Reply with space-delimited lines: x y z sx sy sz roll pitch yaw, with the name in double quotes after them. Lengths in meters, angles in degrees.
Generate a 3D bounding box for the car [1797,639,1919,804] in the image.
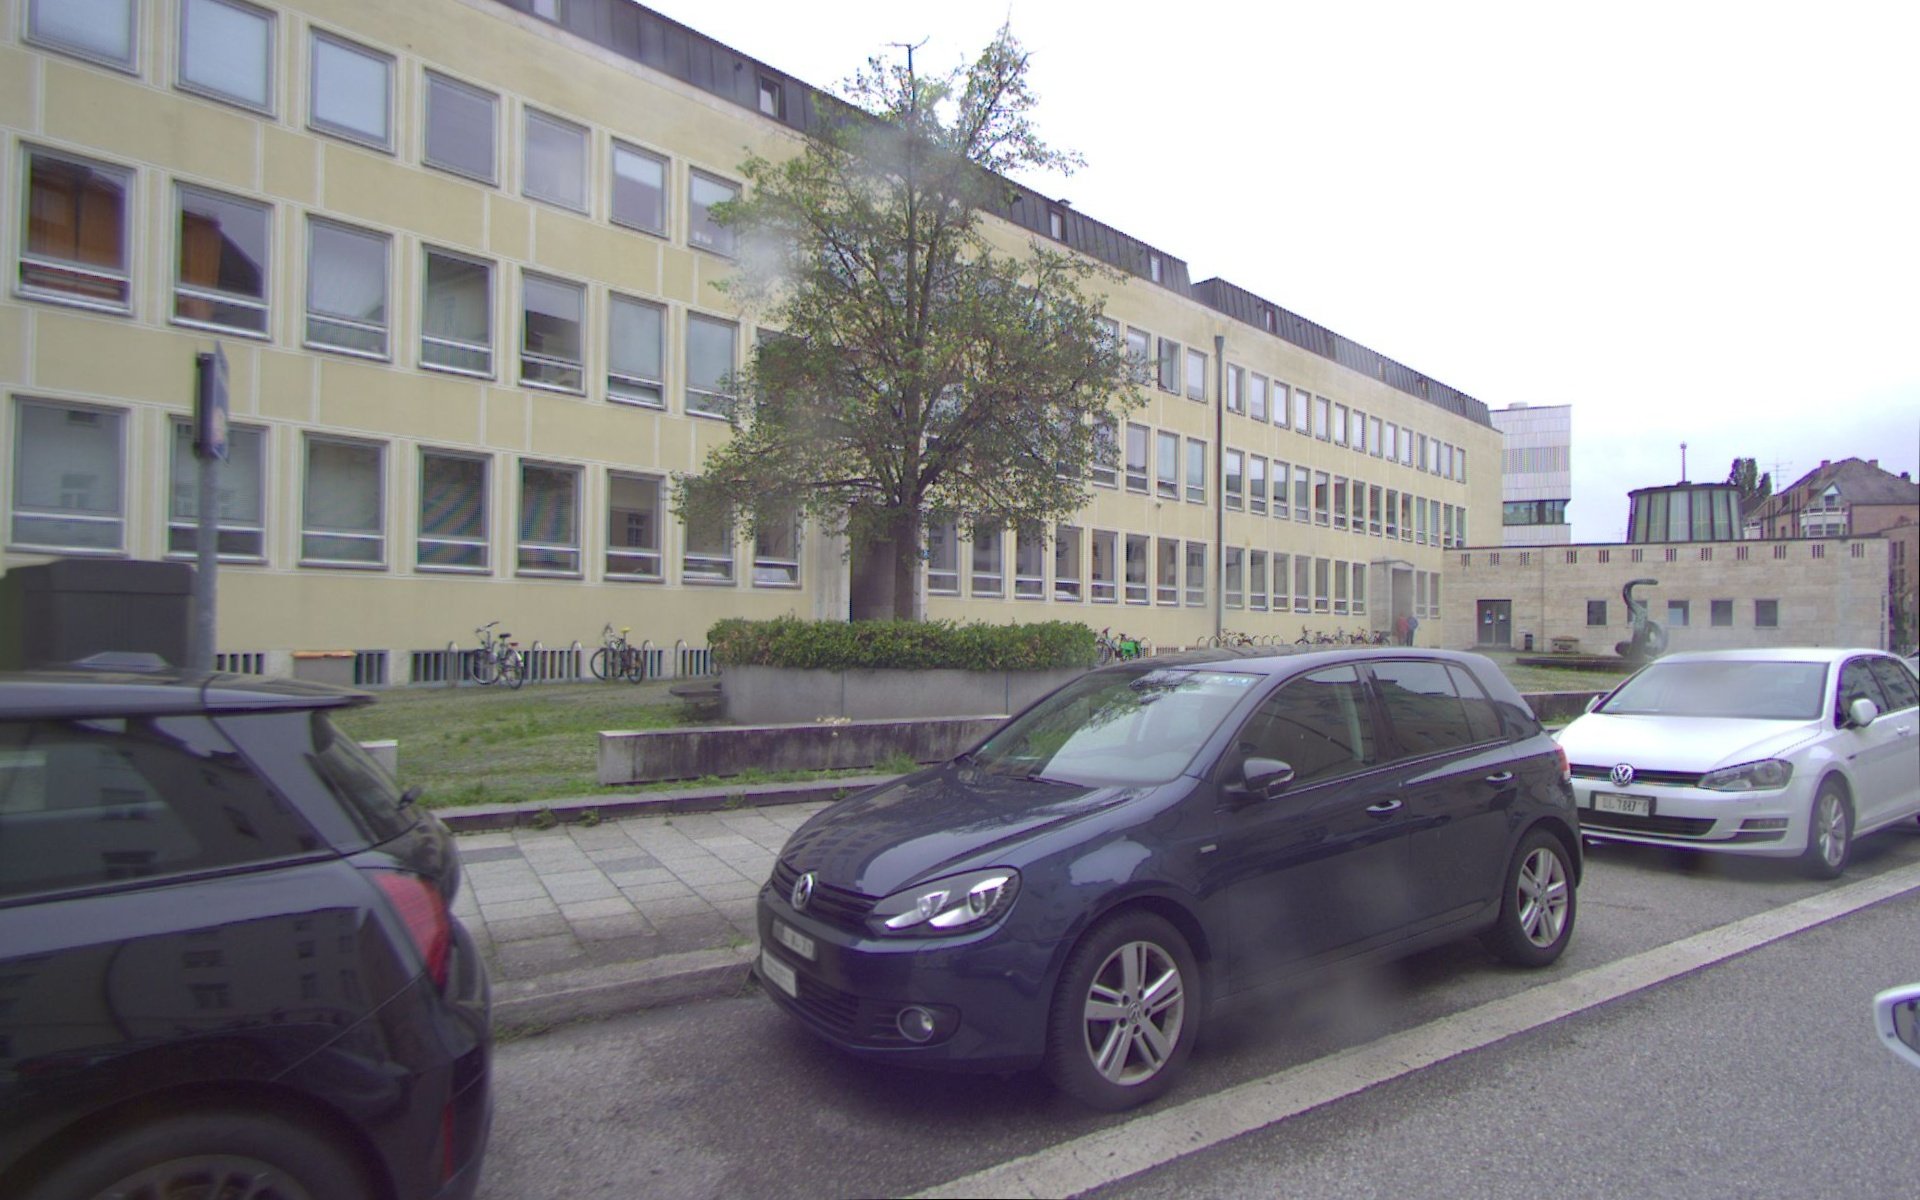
10.496 1.166 10.355 4.160 1.500 1.712 2 -3 -33 "car"

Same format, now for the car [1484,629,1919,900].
5.899 1.033 7.592 3.957 1.550 1.712 2 -3 -33 "car"

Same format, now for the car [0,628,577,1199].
-2.814 0.820 1.893 3.645 1.487 1.731 2 0 -32 "car"

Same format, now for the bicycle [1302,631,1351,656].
15.090 1.774 41.402 0.528 0.953 1.861 2 0 -41 "bicycle"

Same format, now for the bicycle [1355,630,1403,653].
18.479 1.811 44.325 0.435 0.929 1.882 2 0 -45 "bicycle"

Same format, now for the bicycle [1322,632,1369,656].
16.552 1.883 43.152 0.435 0.929 1.882 2 0 -45 "bicycle"

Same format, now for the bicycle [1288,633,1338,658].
14.301 1.824 40.746 0.435 0.929 1.882 2 0 -45 "bicycle"

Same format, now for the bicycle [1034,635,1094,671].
3.005 1.532 29.176 0.435 0.929 1.882 2 0 -45 "bicycle"

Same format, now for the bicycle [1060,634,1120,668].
3.889 1.512 30.135 0.435 0.929 1.882 2 0 -45 "bicycle"

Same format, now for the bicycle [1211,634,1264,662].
10.252 1.753 37.149 0.435 0.929 1.882 2 0 -45 "bicycle"

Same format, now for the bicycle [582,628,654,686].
-6.827 1.106 20.010 1.812 1.042 0.572 2 0 44 "bicycle"

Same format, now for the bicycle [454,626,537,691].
-8.562 1.046 18.481 2.167 1.042 0.639 2 0 44 "bicycle"

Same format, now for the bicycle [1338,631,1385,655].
17.316 1.833 43.347 0.435 0.929 1.882 2 0 -45 "bicycle"

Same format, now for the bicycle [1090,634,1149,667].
4.938 1.561 31.180 0.435 0.929 1.882 2 0 -45 "bicycle"

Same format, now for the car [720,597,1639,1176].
1.165 0.837 4.575 4.038 1.566 1.730 2 0 -33 "car"

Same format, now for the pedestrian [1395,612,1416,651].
20.977 1.484 47.324 0.706 1.767 0.643 2 0 42 "pedestrian"

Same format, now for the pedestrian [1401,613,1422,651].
21.635 1.533 48.125 0.706 1.767 0.643 2 0 42 "pedestrian"
